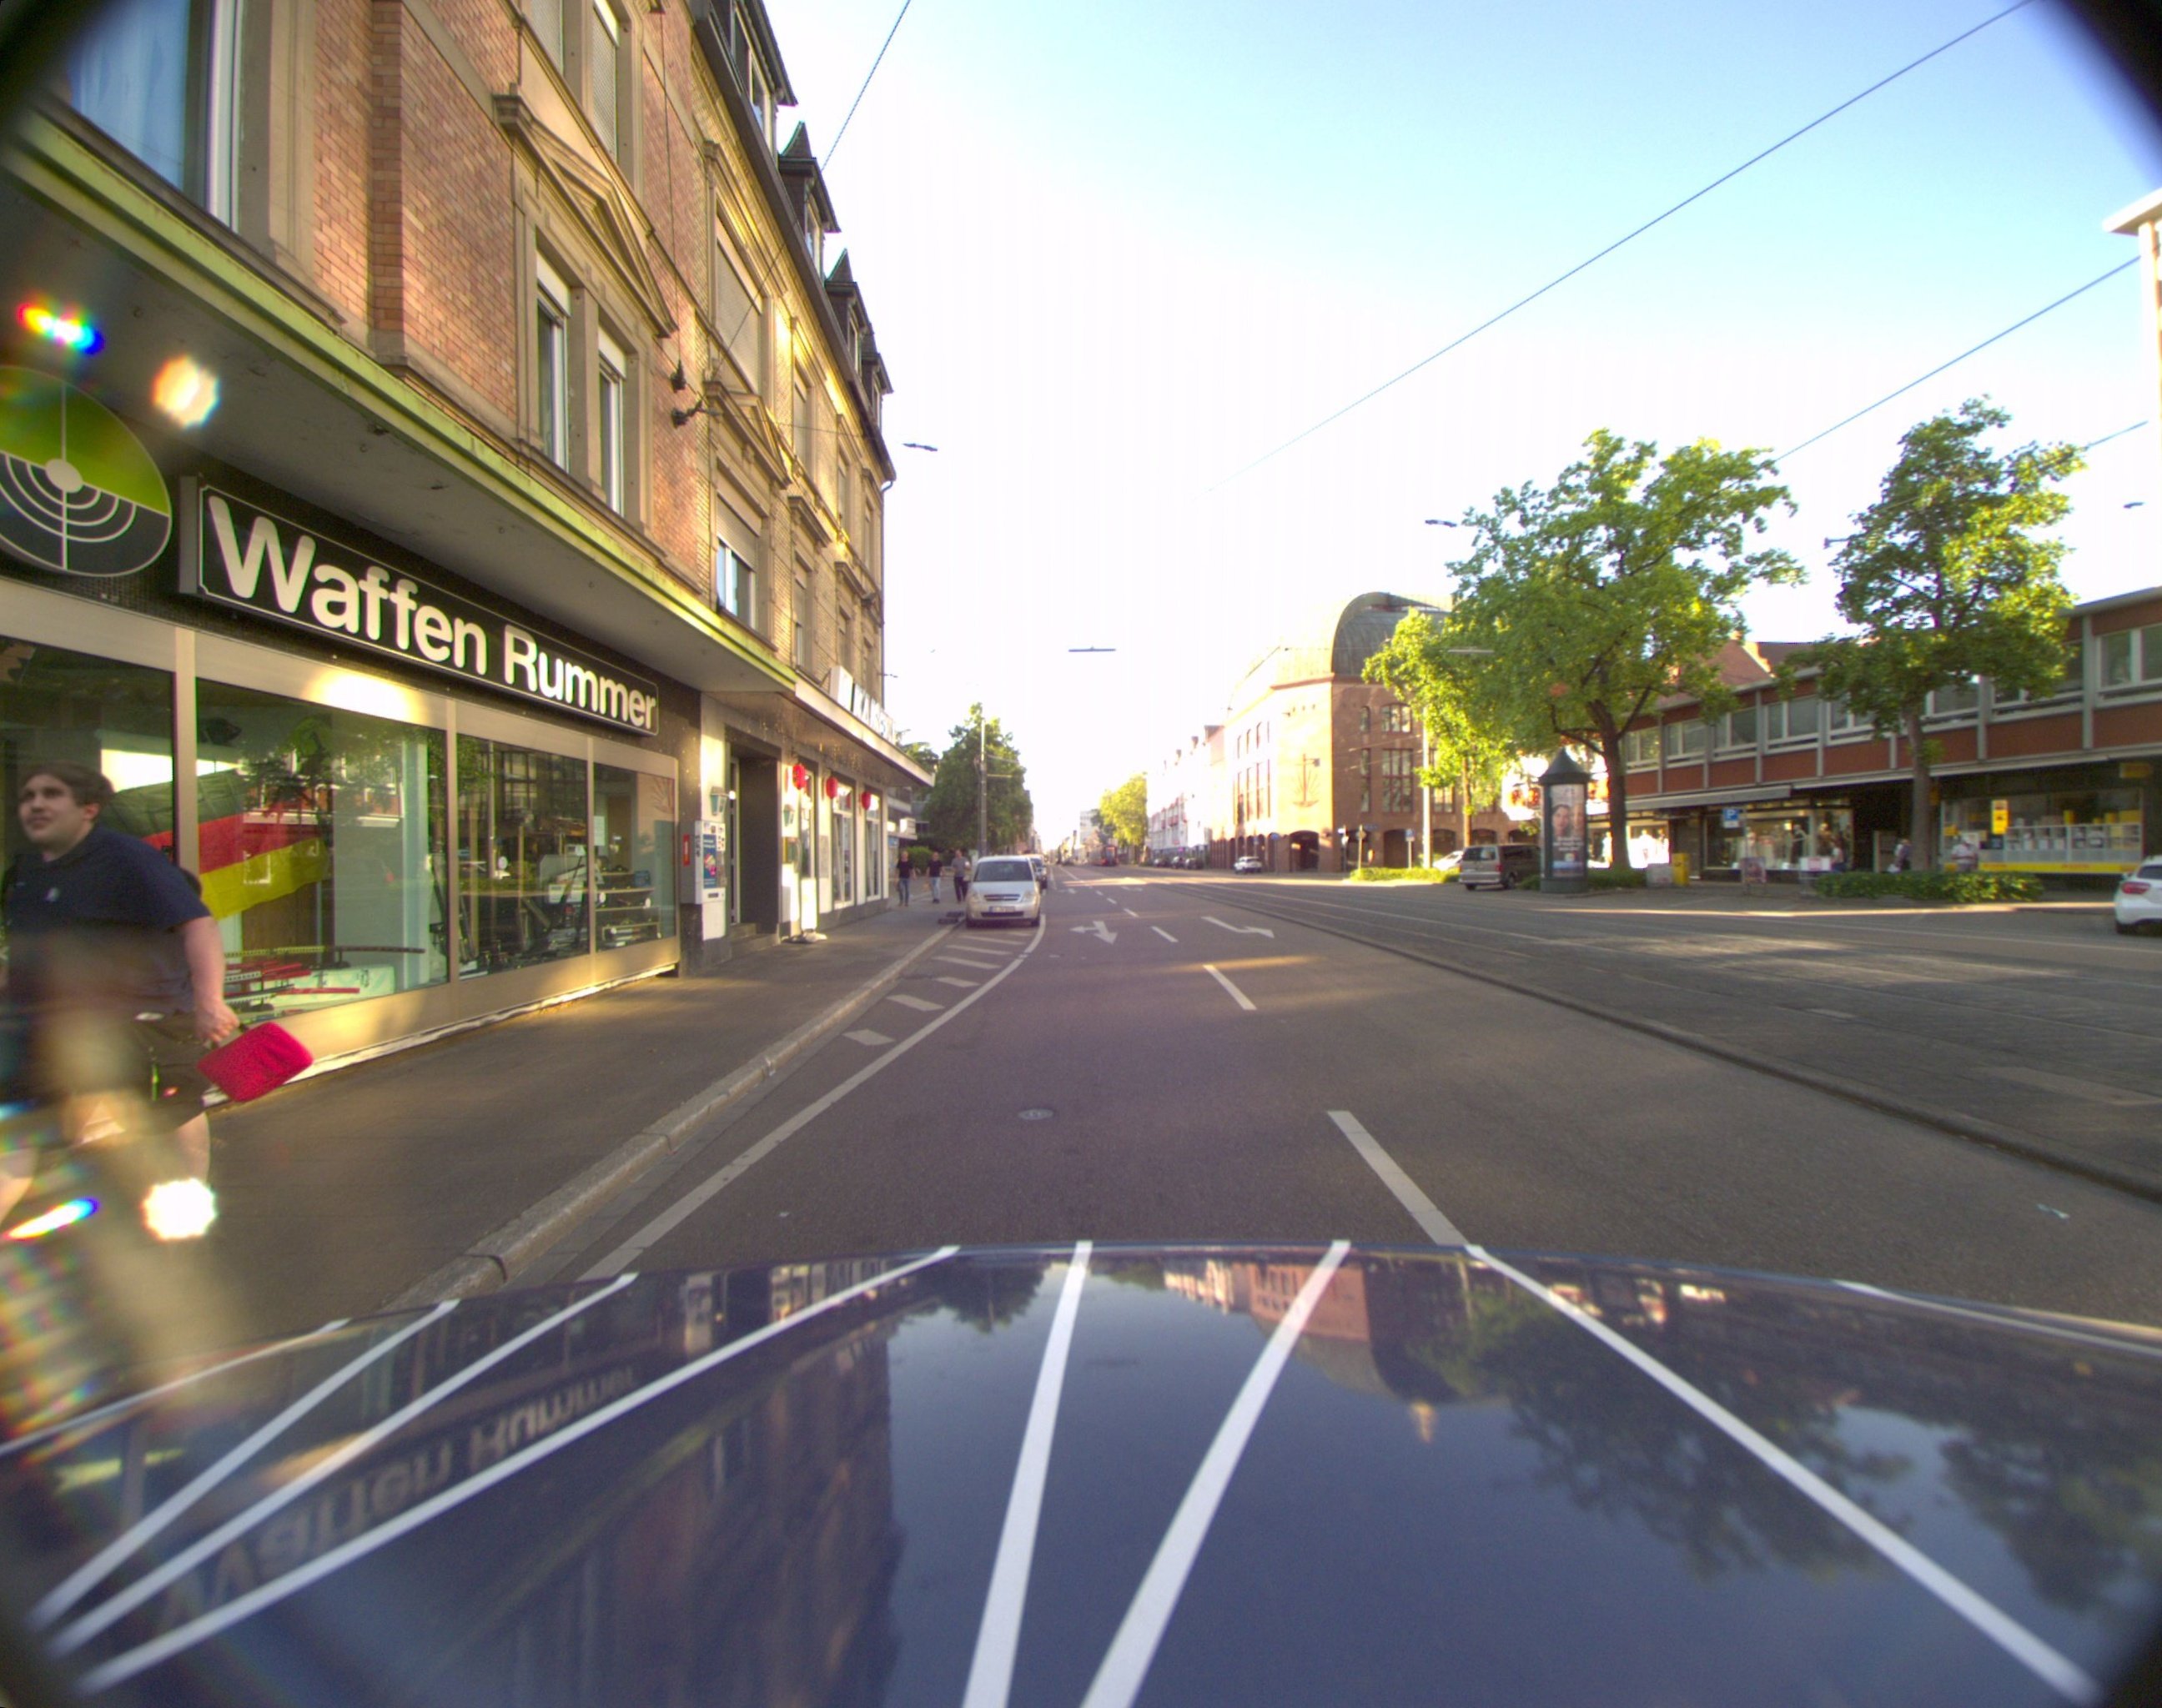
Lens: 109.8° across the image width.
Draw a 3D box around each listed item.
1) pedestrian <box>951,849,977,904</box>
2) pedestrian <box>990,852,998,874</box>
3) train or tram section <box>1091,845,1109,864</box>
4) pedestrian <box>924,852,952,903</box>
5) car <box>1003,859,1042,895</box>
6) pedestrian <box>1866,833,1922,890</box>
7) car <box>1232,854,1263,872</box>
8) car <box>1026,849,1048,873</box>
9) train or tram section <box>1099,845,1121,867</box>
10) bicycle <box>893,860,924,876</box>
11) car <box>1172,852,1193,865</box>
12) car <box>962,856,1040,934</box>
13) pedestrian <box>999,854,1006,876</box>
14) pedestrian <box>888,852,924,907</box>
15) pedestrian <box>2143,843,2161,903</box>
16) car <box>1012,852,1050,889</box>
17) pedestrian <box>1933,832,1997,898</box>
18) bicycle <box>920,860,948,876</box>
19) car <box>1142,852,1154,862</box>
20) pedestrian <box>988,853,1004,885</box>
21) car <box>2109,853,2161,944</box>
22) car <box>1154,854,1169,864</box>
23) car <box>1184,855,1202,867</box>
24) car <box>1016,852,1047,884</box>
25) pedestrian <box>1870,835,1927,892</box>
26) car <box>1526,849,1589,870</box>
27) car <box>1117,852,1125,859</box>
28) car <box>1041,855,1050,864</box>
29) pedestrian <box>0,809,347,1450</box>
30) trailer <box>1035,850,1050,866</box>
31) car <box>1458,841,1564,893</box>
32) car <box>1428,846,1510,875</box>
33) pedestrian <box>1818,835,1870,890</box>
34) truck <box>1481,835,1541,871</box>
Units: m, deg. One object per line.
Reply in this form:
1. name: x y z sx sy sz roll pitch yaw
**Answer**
1. pedestrian: -4.121 0.775 26.768 0.796 1.888 1.032 0 1 -3
2. pedestrian: -6.770 0.715 58.988 0.494 1.703 0.437 2 1 -3
3. train or tram section: 3.654 0.075 151.738 2.766 3.530 12.463 0 0 -3
4. pedestrian: -5.001 0.815 26.617 0.813 1.746 1.032 0 1 -3
5. car: -2.678 1.027 35.309 1.642 1.484 3.793 -3 0 -4
6. pedestrian: 28.049 0.261 26.227 0.996 1.937 0.900 -1 1 -5
7. car: 15.480 0.814 70.744 1.600 1.581 4.276 -3 0 -4
8. car: -4.034 0.628 69.919 1.882 2.009 4.904 -2 0 -2
9. train or tram section: 4.723 0.205 127.935 2.683 3.530 12.837 0 0 -3
10. bicycle: -11.937 0.954 52.702 2.020 1.089 0.637 1 0 -9
11. car: 13.903 0.561 104.249 1.964 1.690 4.559 -2 0 -4
12. car: -1.836 0.887 18.244 1.642 1.605 3.943 -1 0 -4
13. pedestrian: -6.091 0.838 58.988 0.494 1.703 0.437 2 1 -3
14. pedestrian: -5.608 0.811 24.353 0.903 1.703 1.032 2 0 -3
15. pedestrian: 27.308 0.475 18.852 0.689 1.488 0.900 -1 0 -5
16. car: -2.614 0.840 40.557 1.825 1.747 4.473 -2 1 -3
17. pedestrian: 25.739 0.314 22.141 0.917 1.867 0.902 0 1 26
18. bicycle: -10.397 0.992 53.641 1.886 1.090 0.469 0 1 -4
19. car: 12.294 0.554 139.145 1.931 1.787 4.383 -1 0 1
20. pedestrian: -4.753 0.825 42.471 0.789 1.727 0.945 -1 1 -3
21. car: 20.654 0.767 14.021 4.276 1.421 1.762 -3 1 -33
22. car: 13.032 0.737 123.202 1.829 1.500 4.559 -2 0 -2
23. car: 14.336 0.870 97.461 1.646 1.392 3.682 -2 0 -2
24. car: -2.912 0.788 45.258 1.680 1.797 4.247 -2 0 -3
25. pedestrian: 26.995 0.305 25.094 0.919 1.867 0.900 -1 1 -5
26. car: 38.031 0.408 60.762 1.856 1.564 4.528 -1 0 -7
27. car: 10.795 0.318 203.258 1.861 1.914 3.999 0 0 -1
28. car: -5.736 0.886 124.002 1.420 1.425 3.871 -2 0 -3
29. pedestrian: -3.495 0.761 2.601 0.949 1.782 1.054 1 0 -3
30. trailer: -5.254 0.506 104.655 1.784 2.136 5.315 -2 0 0
31. car: 18.628 0.509 32.804 5.130 1.918 1.849 -3 2 -34
32. car: 28.538 0.451 56.017 4.993 1.957 2.130 -1 3 -4
33. pedestrian: 26.520 0.281 26.415 0.919 1.867 0.900 -1 1 -5
34. truck: 34.137 -0.069 60.513 1.856 2.747 4.528 -1 0 -7
